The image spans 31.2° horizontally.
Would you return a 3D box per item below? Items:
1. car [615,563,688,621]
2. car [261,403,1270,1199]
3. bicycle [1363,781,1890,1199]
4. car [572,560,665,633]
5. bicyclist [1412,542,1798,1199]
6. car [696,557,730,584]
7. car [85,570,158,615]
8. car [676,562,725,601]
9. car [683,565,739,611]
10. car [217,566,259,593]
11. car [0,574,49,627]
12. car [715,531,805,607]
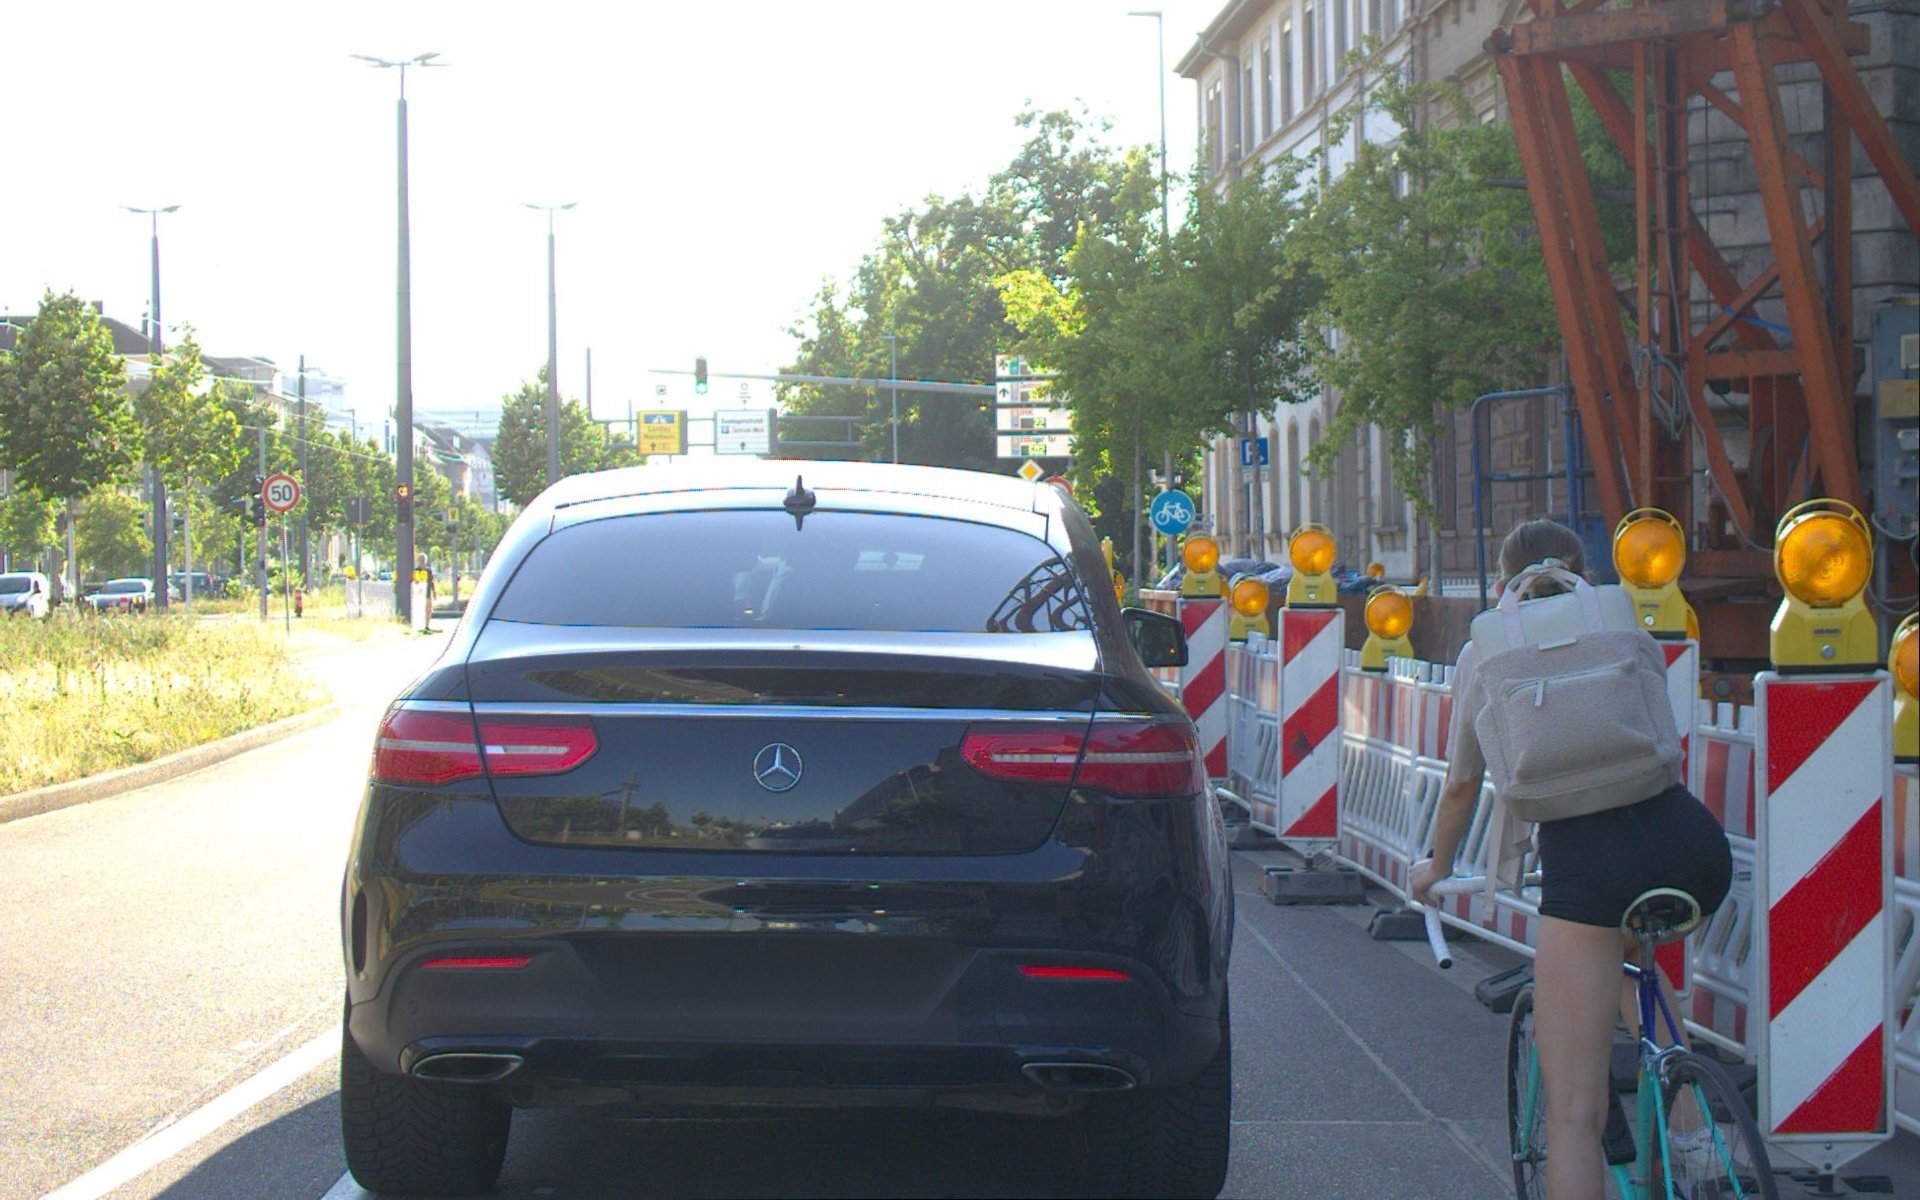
[{"bbox_3d":[-7.951,-0.225,88.699,1.708,1.437,3.583,1,1,-3],"label":"car"},{"bbox_3d":[-0.412,0.484,8.865,1.993,1.766,4.000,1,1,-1],"label":"car"},{"bbox_3d":[1.139,0.908,6.216,0.512,1.048,1.725,1,1,-3],"label":"bicycle"},{"bbox_3d":[-7.000,-0.093,70.724,1.708,1.437,3.583,1,1,-3],"label":"car"},{"bbox_3d":[1.130,0.598,6.117,0.522,1.391,0.615,1,0,-3],"label":"bicyclist"},{"bbox_3d":[-13.221,-1.597,184.464,1.708,1.437,3.583,1,1,-3],"label":"car"},{"bbox_3d":[-27.960,-0.262,114.701,1.708,1.437,3.583,1,1,-3],"label":"car"},{"bbox_3d":[-9.811,-0.723,130.054,1.708,1.437,3.583,1,1,-3],"label":"car"},{"bbox_3d":[-8.169,-0.407,113.059,1.708,1.437,3.583,1,1,-3],"label":"car"},{"bbox_3d":[-39.315,-1.140,187.225,1.708,1.437,3.583,1,1,-3],"label":"car"},{"bbox_3d":[-31.217,-0.010,112.306,1.790,1.678,3.638,1,1,2],"label":"car"},{"bbox_3d":[-3.942,-0.622,68.053,1.708,1.437,3.583,1,1,-3],"label":"car"}]
